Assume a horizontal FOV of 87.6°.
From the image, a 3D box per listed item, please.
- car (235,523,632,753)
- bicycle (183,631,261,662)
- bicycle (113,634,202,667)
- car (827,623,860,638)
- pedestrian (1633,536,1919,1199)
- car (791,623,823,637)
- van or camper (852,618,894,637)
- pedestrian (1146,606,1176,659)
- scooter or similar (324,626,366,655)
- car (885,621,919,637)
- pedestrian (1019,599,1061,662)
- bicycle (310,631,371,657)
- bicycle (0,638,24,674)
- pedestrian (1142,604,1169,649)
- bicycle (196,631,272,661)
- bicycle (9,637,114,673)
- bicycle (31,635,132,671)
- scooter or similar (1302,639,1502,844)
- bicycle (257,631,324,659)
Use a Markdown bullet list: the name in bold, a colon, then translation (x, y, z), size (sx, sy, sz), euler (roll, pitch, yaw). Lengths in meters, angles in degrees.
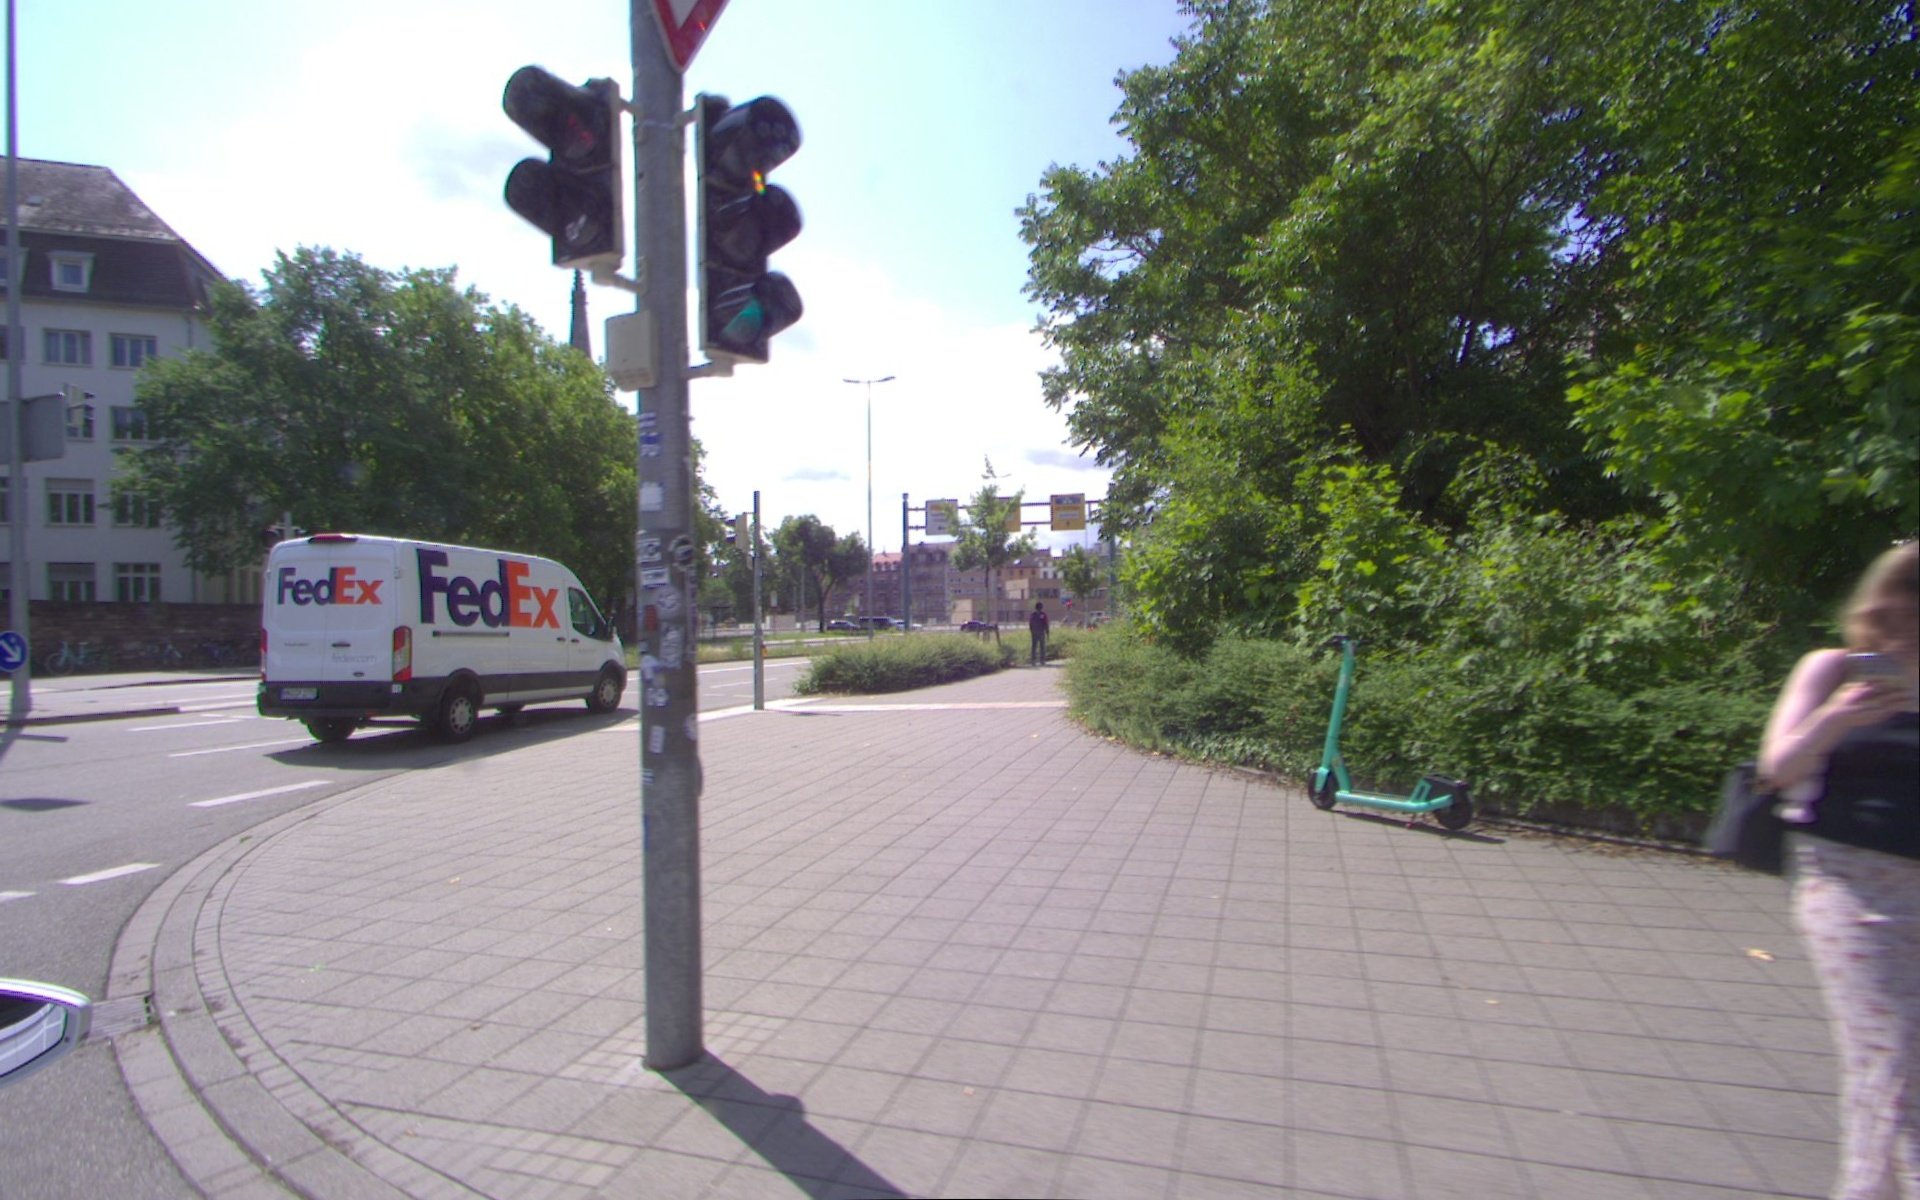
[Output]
- **car**: translation (-6.977, 0.461, 14.247), size (2.061, 2.600, 5.601), euler (1, -1, 9)
- **bicycle**: translation (-26.224, 1.637, 35.642), size (0.740, 1.007, 2.388), euler (-1, -1, 10)
- **bicycle**: translation (-26.537, 1.655, 33.176), size (0.740, 1.007, 2.388), euler (-1, -1, 10)
- **car**: translation (-14.360, 3.725, 123.773), size (3.800, 1.777, 1.572), euler (-1, -2, 7)
- **pedestrian**: translation (2.050, 0.667, 2.211), size (0.762, 1.597, 0.731), euler (-1, 2, 19)
- **car**: translation (-19.585, 3.850, 128.143), size (3.800, 1.777, 1.572), euler (-1, -2, 7)
- **van or camper**: translation (-10.164, 3.213, 116.932), size (4.571, 2.122, 1.572), euler (-1, -2, 7)
- **pedestrian**: translation (6.121, 0.972, 30.442), size (0.838, 1.585, 0.950), euler (-1, 0, 14)
- **scooter or similar**: translation (-24.575, 1.617, 40.029), size (0.529, 1.098, 1.934), euler (-1, -2, -2)
- **car**: translation (-6.906, 3.469, 120.016), size (3.800, 1.777, 1.572), euler (-1, -2, 7)
- **pedestrian**: translation (2.267, 0.860, 28.231), size (0.979, 1.748, 1.208), euler (-1, 0, 14)
- **bicycle**: translation (-25.261, 1.768, 40.904), size (0.739, 1.007, 2.388), euler (-1, -1, 8)
- **bicycle**: translation (-27.449, 1.579, 27.667), size (0.683, 1.007, 2.388), euler (-1, -1, 10)
- **pedestrian**: translation (7.497, 1.009, 38.395), size (0.979, 1.672, 0.920), euler (-1, 0, 14)
- **bicycle**: translation (-26.157, 1.640, 36.119), size (0.711, 1.007, 2.388), euler (-1, -1, 10)
- **bicycle**: translation (-27.039, 1.629, 30.196), size (0.740, 1.007, 2.388), euler (-1, -1, 10)
- **bicycle**: translation (-26.951, 1.613, 30.782), size (0.711, 1.007, 2.388), euler (-1, -1, 10)
- **scooter or similar**: translation (2.741, 0.834, 6.307), size (0.283, 1.161, 1.170), euler (-1, -1, -35)
- **bicycle**: translation (-25.719, 1.714, 38.506), size (0.739, 1.007, 2.388), euler (-1, -1, 8)
